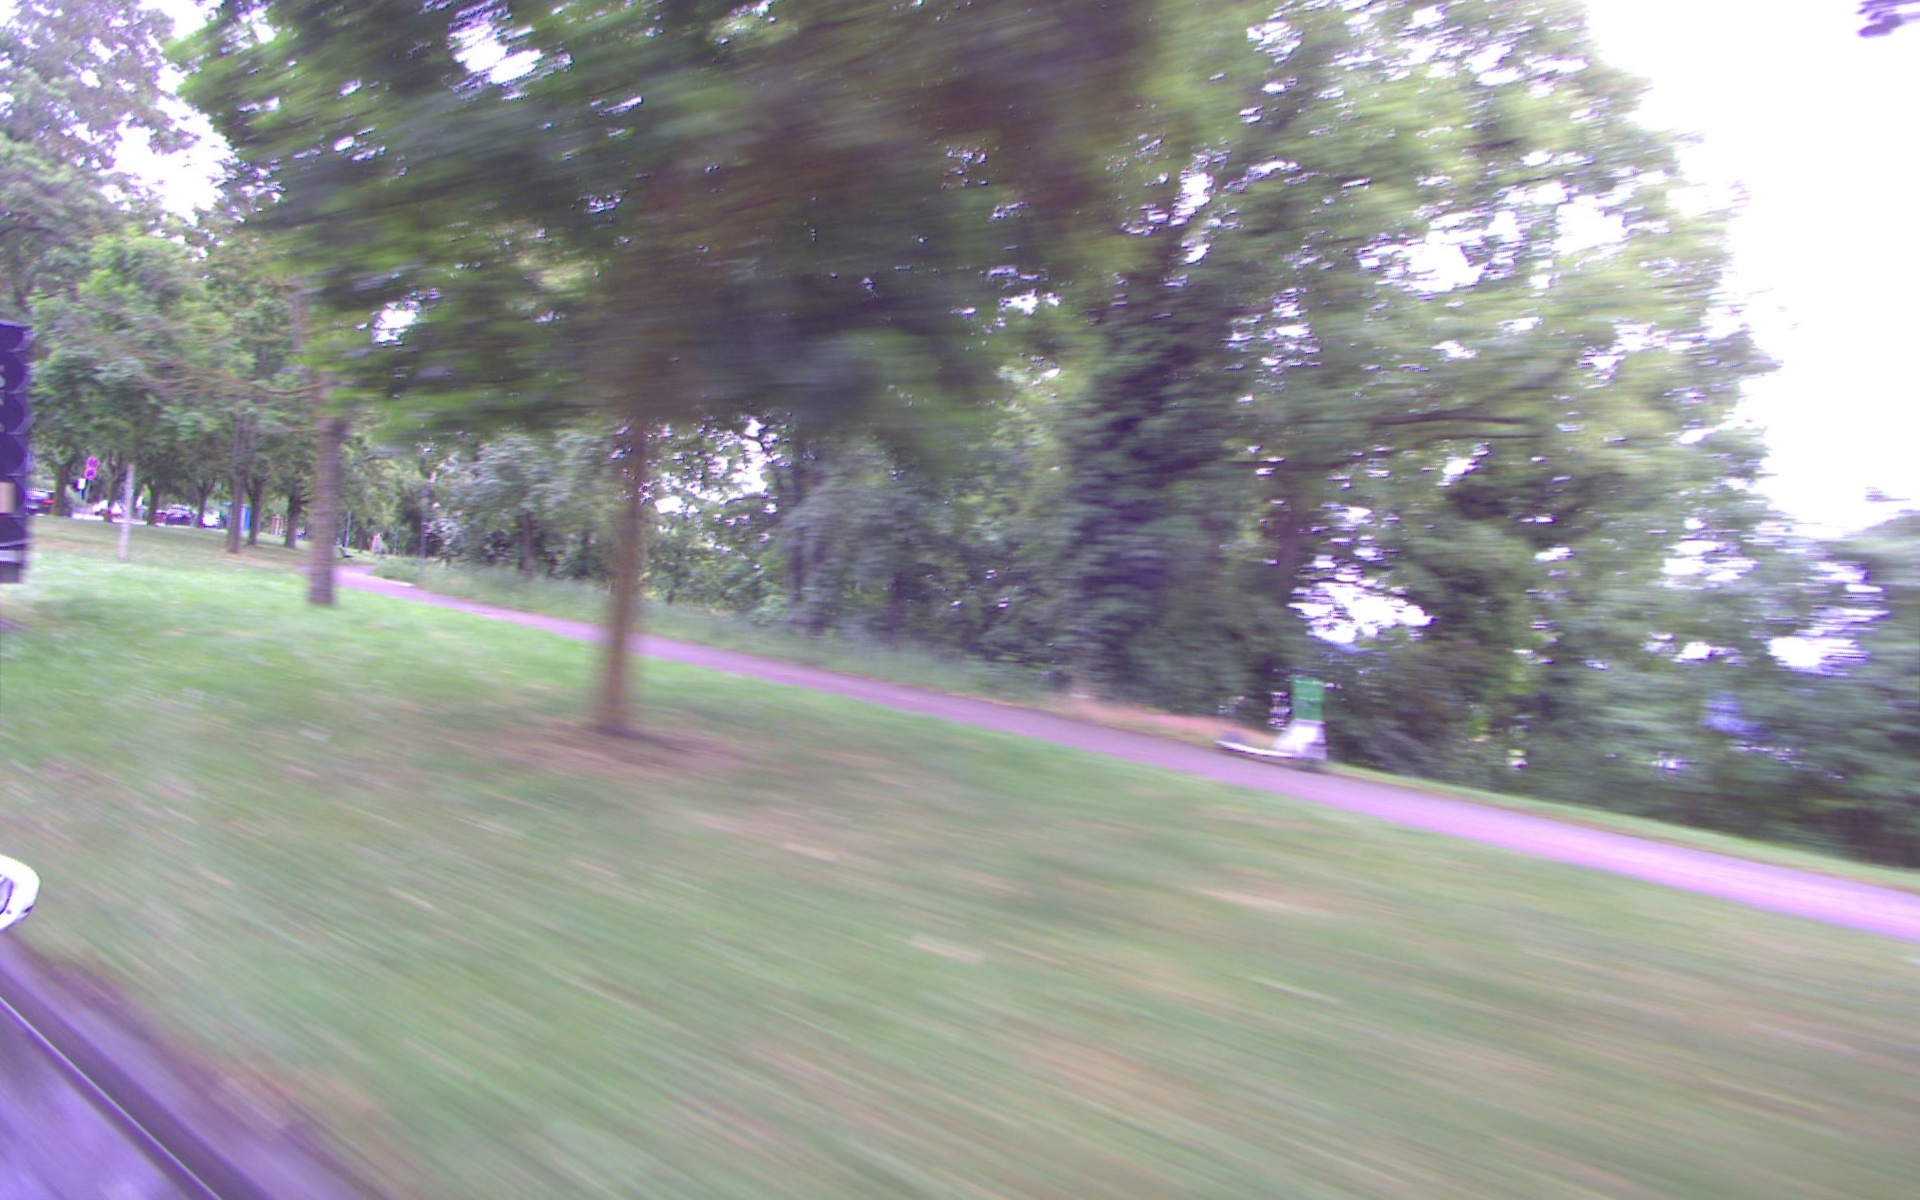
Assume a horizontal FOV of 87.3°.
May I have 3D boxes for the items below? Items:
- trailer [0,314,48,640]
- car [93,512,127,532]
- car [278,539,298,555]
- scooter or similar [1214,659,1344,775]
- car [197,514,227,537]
[{"bbox_3d":[-11.011,-1.310,9.907,5.522,2.848,1.990,7,5,36],"label":"trailer"},{"bbox_3d":[-72.419,-6.630,85.722,1.572,1.496,3.862,7,0,-32],"label":"car"},{"bbox_3d":[-97.405,-7.664,145.827,1.985,1.827,3.962,10,-4,-36],"label":"car"},{"bbox_3d":[3.741,1.352,11.853,1.282,1.161,0.462,7,1,40],"label":"scooter or similar"},{"bbox_3d":[-76.587,-7.609,102.990,1.982,1.824,3.967,9,-3,-32],"label":"car"}]
